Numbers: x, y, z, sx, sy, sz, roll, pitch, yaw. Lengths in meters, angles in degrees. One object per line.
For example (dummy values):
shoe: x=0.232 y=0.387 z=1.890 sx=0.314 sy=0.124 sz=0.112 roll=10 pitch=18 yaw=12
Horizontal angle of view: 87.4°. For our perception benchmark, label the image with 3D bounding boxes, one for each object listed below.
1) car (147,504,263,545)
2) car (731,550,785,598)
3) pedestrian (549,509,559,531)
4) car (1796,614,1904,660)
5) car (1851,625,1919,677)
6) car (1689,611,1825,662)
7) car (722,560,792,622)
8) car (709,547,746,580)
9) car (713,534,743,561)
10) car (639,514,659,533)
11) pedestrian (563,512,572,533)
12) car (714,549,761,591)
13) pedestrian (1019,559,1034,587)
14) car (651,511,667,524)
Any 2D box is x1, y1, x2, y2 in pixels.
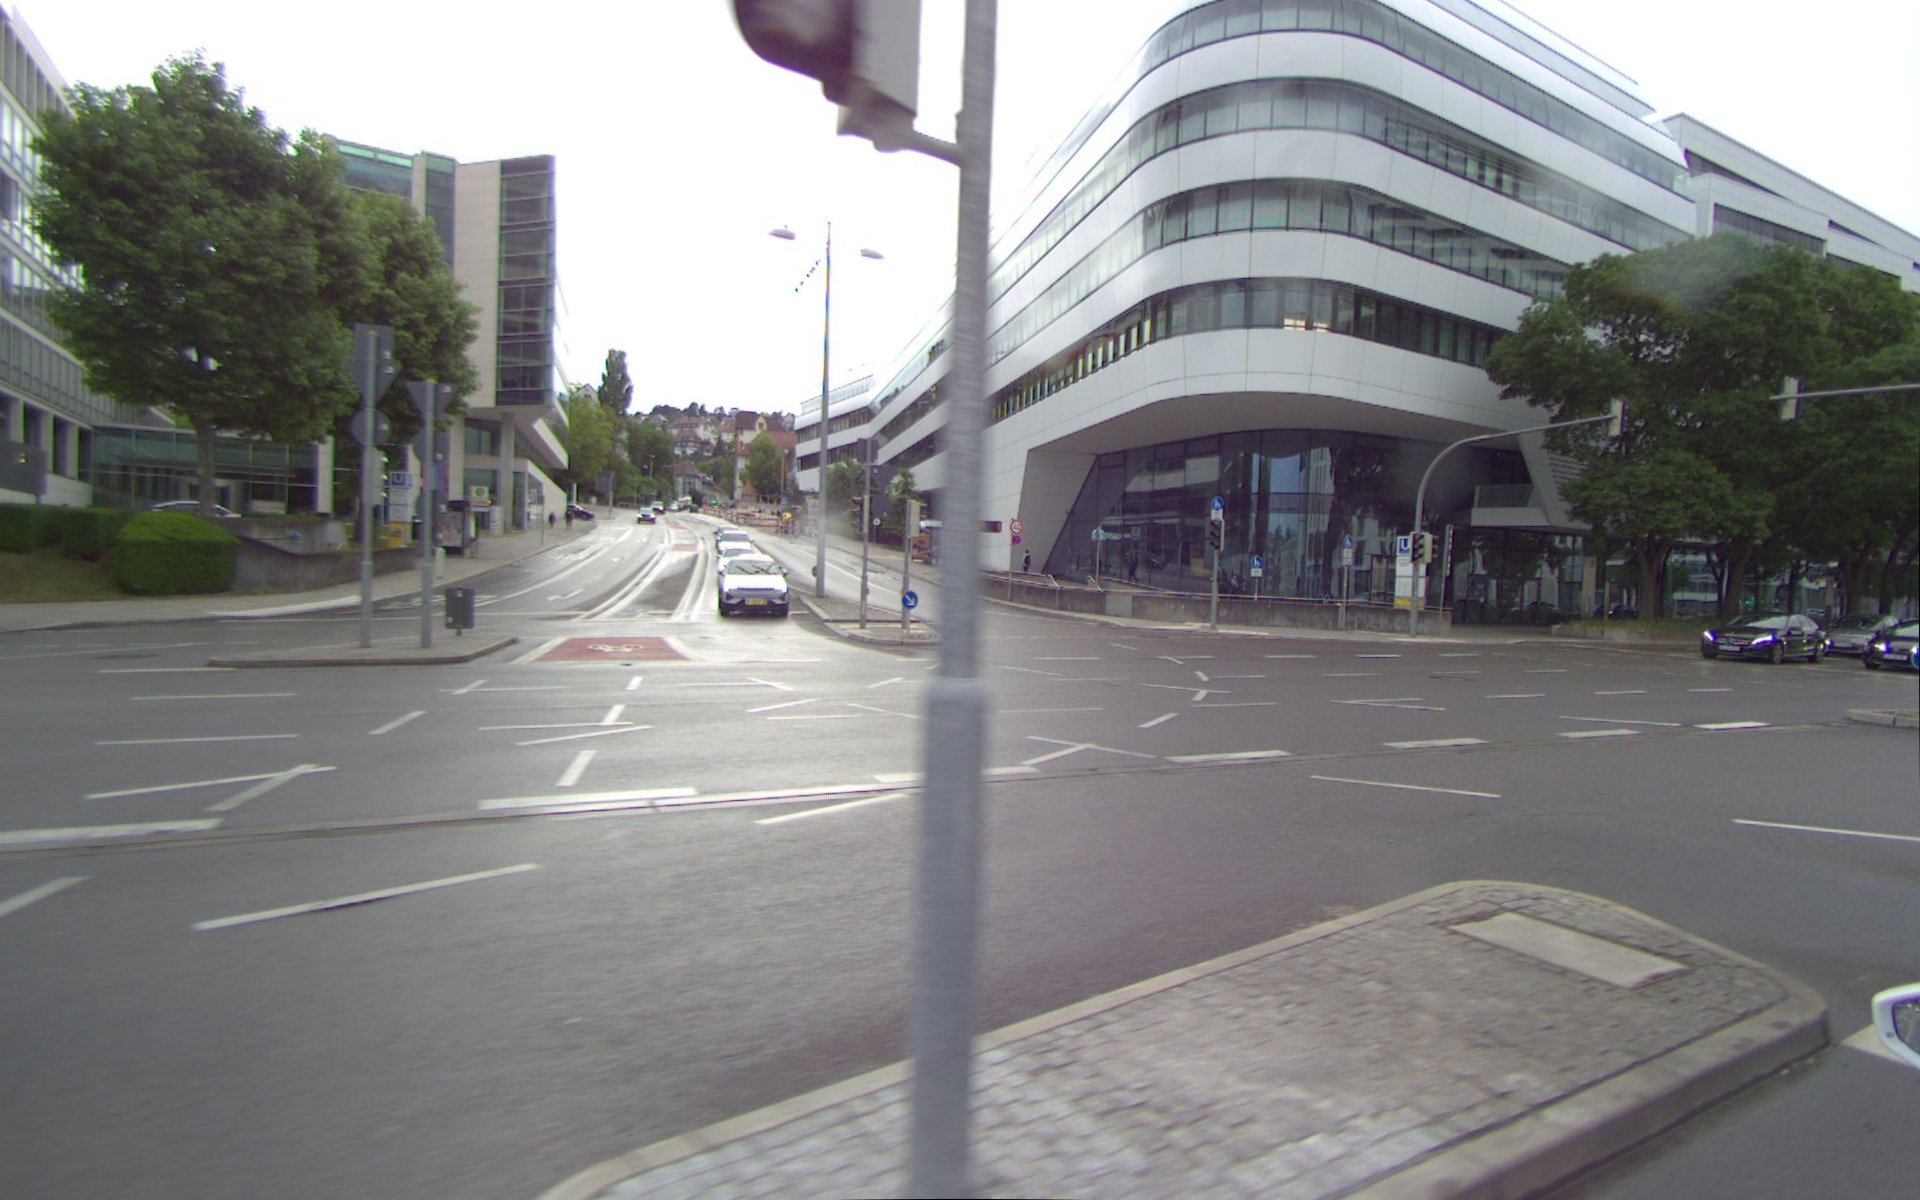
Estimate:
car: x=-32.783 y=-3.242 z=43.768 sx=3.837 sy=1.428 sz=1.518 roll=2 pitch=0 yaw=-31
car: x=-7.805 y=-0.955 z=38.619 sx=1.862 sy=1.653 sz=3.989 roll=2 pitch=0 yaw=-14
pedestrian: x=-32.626 y=-6.426 z=80.714 sx=0.586 sy=1.632 sz=0.686 roll=2 pitch=0 yaw=-18
car: x=30.370 y=1.256 z=34.277 sx=3.498 sy=1.442 sz=1.735 roll=2 pitch=0 yaw=-30
car: x=26.321 y=1.381 z=27.596 sx=3.498 sy=1.274 sz=1.734 roll=1 pitch=2 yaw=-30
car: x=23.424 y=1.084 z=29.496 sx=4.176 sy=1.346 sz=1.735 roll=2 pitch=0 yaw=-30
car: x=-6.144 y=-0.268 z=30.047 sx=1.862 sy=1.653 sz=4.504 roll=2 pitch=0 yaw=-13
car: x=-12.833 y=-2.060 z=55.453 sx=1.862 sy=1.653 sz=3.988 roll=2 pitch=3 yaw=-14
car: x=-15.840 y=-3.635 z=68.606 sx=1.862 sy=1.653 sz=3.988 roll=2 pitch=4 yaw=-13
car: x=-33.366 y=-8.266 z=107.890 sx=1.816 sy=1.684 sz=3.987 roll=2 pitch=7 yaw=-14
pedestrian: x=-31.649 y=-6.230 z=81.066 sx=0.586 sy=1.632 sz=0.686 roll=2 pitch=0 yaw=-18
car: x=-9.853 y=-1.330 z=44.329 sx=1.862 sy=1.653 sz=3.988 roll=2 pitch=2 yaw=-14
pedestrian: x=3.964 y=-1.604 z=59.660 sx=0.669 sy=1.586 sz=0.630 roll=2 pitch=0 yaw=-14
car: x=-43.896 y=-12.043 z=146.582 sx=1.862 sy=1.653 sz=3.988 roll=2 pitch=2 yaw=-14
